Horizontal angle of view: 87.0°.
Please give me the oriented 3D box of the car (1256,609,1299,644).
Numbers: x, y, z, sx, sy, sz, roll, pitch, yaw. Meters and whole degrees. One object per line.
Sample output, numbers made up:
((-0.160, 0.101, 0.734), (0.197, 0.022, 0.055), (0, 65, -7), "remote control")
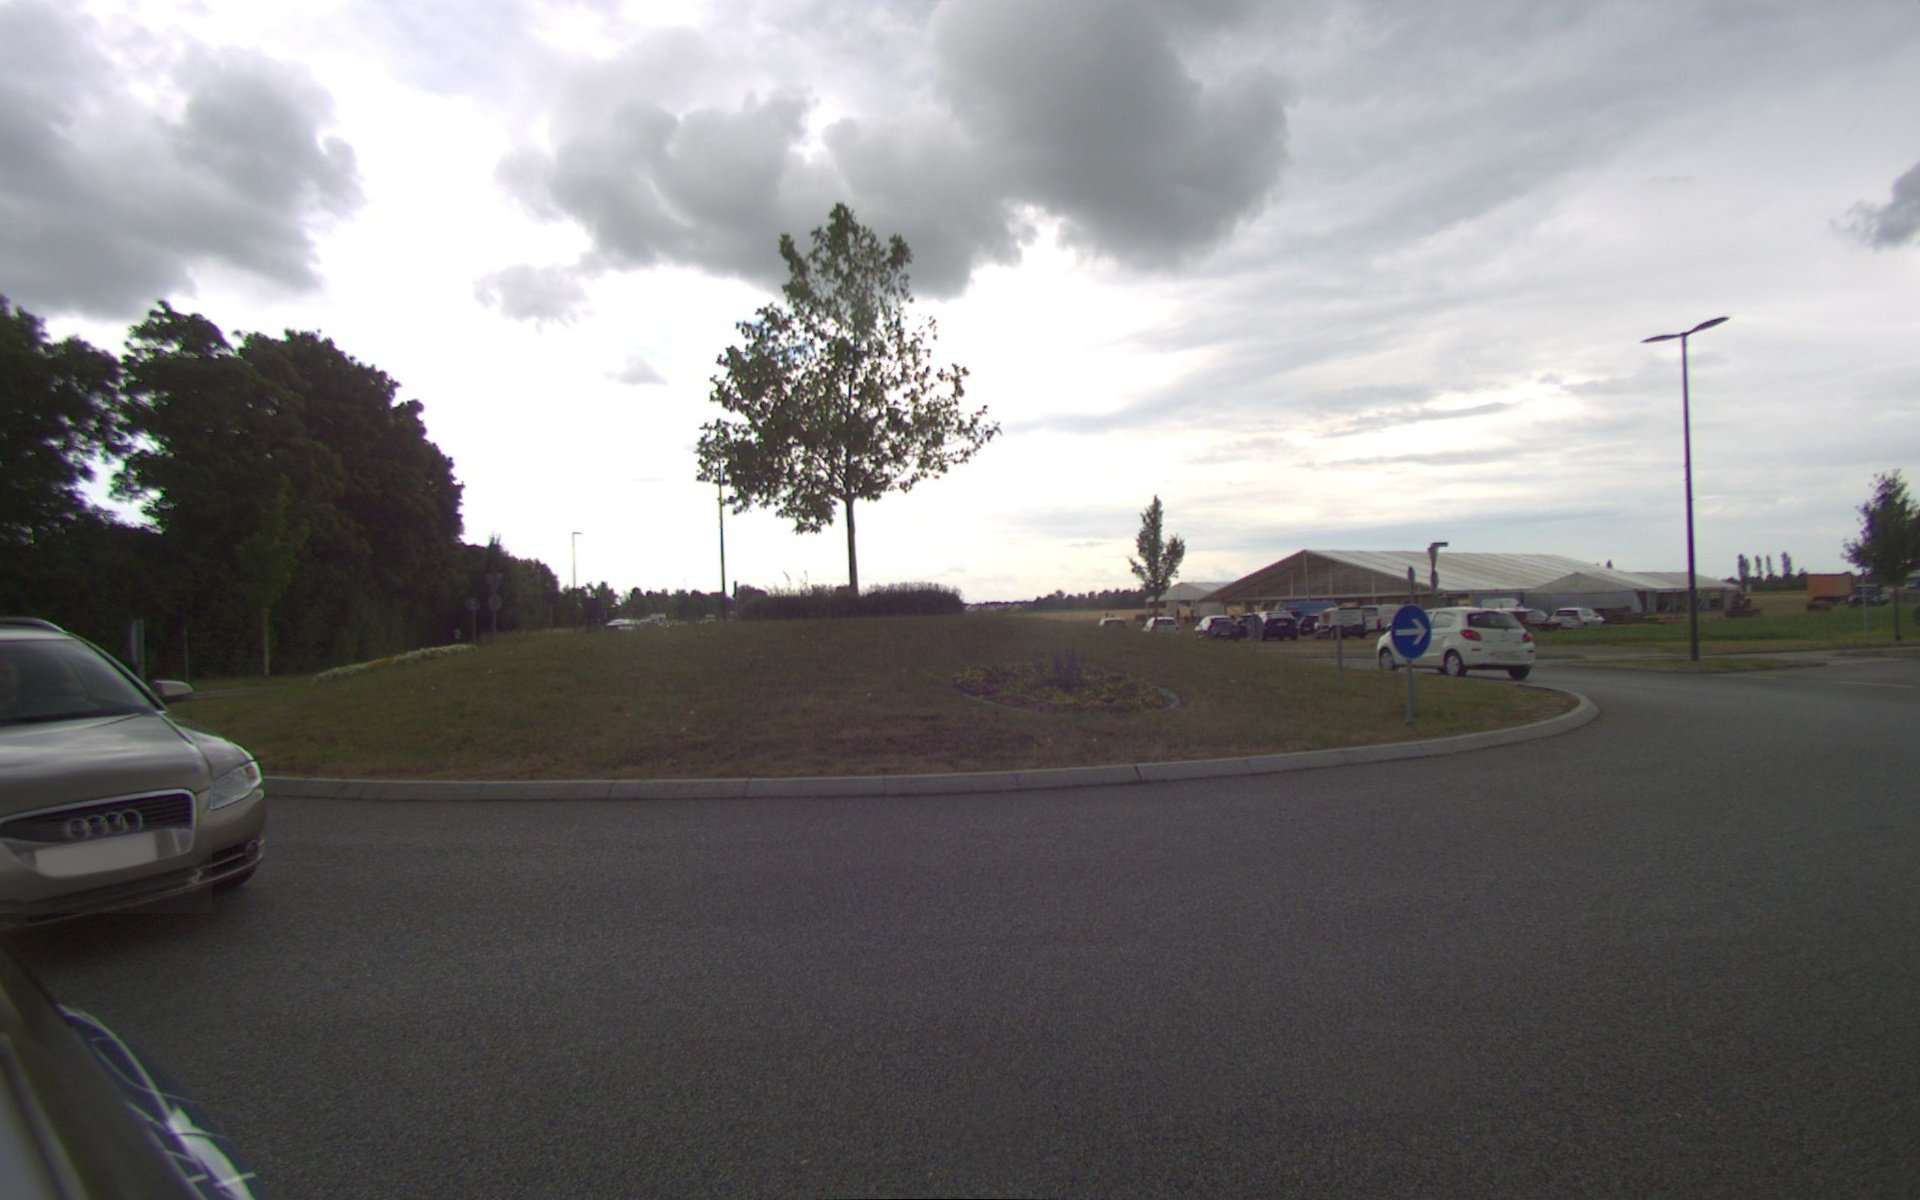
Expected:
((16.897, 1.375, 54.050), (1.698, 1.564, 3.985), (-4, 0, 12), "car")

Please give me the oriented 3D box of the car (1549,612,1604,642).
((35.499, 1.524, 58.226), (3.941, 1.565, 1.733), (-1, -1, -44), "car")

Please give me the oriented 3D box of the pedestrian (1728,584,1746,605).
((76.049, -0.528, 99.085), (1.043, 2.029, 1.054), (-1, -1, -36), "pedestrian")

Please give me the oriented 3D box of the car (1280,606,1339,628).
((25.044, 1.205, 72.478), (3.933, 1.453, 1.957), (-2, -1, -33), "car")

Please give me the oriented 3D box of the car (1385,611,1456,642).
((25.409, 1.451, 55.956), (1.707, 1.619, 3.882), (-2, -1, -7), "car")

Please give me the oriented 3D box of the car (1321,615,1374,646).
((20.284, 1.579, 53.121), (1.931, 1.453, 3.985), (-2, -1, 11), "car")

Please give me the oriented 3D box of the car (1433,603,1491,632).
((31.180, 1.075, 62.868), (3.769, 1.619, 1.838), (-1, -1, -40), "car")

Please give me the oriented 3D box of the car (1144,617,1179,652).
((10.828, 1.830, 54.345), (1.698, 1.564, 3.985), (-4, 0, 12), "car")

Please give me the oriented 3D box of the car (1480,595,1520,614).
((48.120, 0.387, 90.177), (3.769, 1.619, 1.838), (-1, -1, -39), "car")

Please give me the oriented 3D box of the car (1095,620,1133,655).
((8.359, 2.013, 54.749), (1.698, 1.564, 3.985), (-4, 0, 12), "car")

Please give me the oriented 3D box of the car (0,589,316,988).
((-5.461, 0.811, 5.236), (4.525, 1.476, 1.764), (-3, 1, 32), "car")

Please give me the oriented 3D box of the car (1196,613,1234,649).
((13.588, 1.624, 54.022), (1.698, 1.564, 3.985), (-4, 0, 12), "car")

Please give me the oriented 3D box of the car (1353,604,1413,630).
((27.393, 1.088, 65.529), (3.938, 1.453, 1.955), (-1, -2, -41), "car")

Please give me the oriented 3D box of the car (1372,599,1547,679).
((10.674, 0.803, 21.893), (1.606, 1.530, 3.407), (-2, -1, -10), "car")
